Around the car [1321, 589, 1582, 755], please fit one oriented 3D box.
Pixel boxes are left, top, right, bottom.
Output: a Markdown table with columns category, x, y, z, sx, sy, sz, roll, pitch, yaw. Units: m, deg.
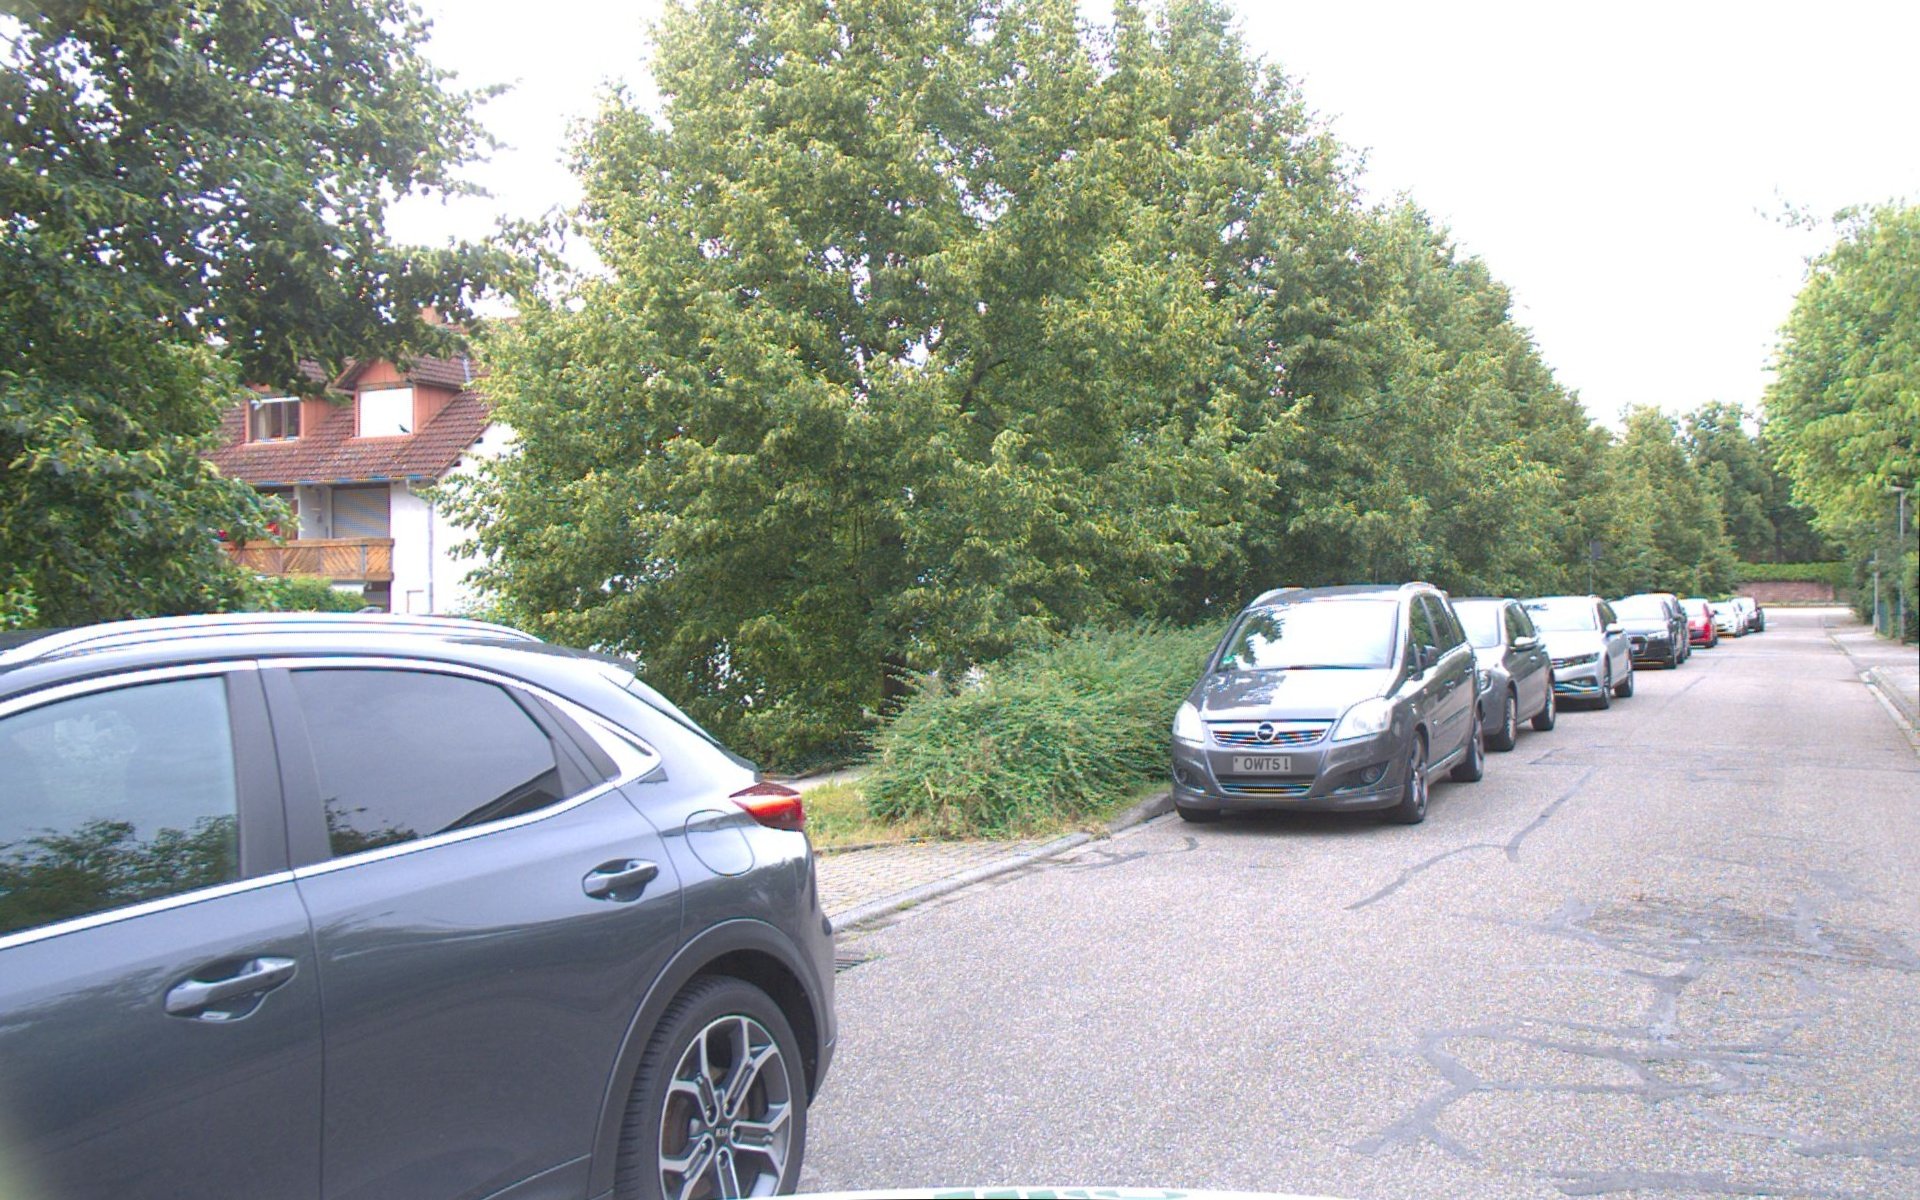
| category | x | y | z | sx | sy | sz | roll | pitch | yaw |
| --- | --- | --- | --- | --- | --- | --- | --- | --- | --- |
| car | 5.318 | 0.686 | 17.509 | 1.724 | 1.504 | 4.299 | -3 | -1 | 29 |

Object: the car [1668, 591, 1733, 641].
| category | x | y | z | sx | sy | sz | roll | pitch | yaw |
| --- | --- | --- | --- | --- | --- | --- | --- | --- | --- |
| car | 24.958 | 0.530 | 55.679 | 1.718 | 1.546 | 3.995 | -3 | -1 | 28 |

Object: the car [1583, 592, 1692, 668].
| category | x | y | z | sx | sy | sz | roll | pitch | yaw |
| --- | --- | --- | --- | --- | --- | --- | --- | --- | --- |
| car | 14.302 | 0.598 | 34.799 | 1.718 | 1.450 | 3.995 | -3 | -1 | 28 |

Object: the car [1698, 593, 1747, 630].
| category | x | y | z | sx | sy | sz | roll | pitch | yaw |
| --- | --- | --- | --- | --- | --- | --- | --- | --- | --- |
| car | 32.914 | 0.490 | 71.340 | 1.718 | 1.546 | 3.995 | -1 | 0 | 28 |

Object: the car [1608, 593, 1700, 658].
| category | x | y | z | sx | sy | sz | roll | pitch | yaw |
| --- | --- | --- | --- | --- | --- | --- | --- | --- | --- |
| car | 17.283 | 0.607 | 41.109 | 1.718 | 1.450 | 3.995 | -3 | -1 | 28 |

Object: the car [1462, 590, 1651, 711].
| category | x | y | z | sx | sy | sz | roll | pitch | yaw |
| --- | --- | --- | --- | --- | --- | --- | --- | --- | --- |
| car | 8.348 | 0.645 | 22.920 | 1.742 | 1.453 | 4.471 | -3 | -1 | 29 |

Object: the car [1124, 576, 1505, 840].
| category | x | y | z | sx | sy | sz | roll | pitch | yaw |
| --- | --- | --- | --- | --- | --- | --- | --- | --- | --- |
| car | 2.889 | 0.683 | 12.583 | 1.723 | 1.621 | 4.548 | -3 | -1 | 26 |

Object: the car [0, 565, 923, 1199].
| category | x | y | z | sx | sy | sz | roll | pitch | yaw |
| --- | --- | --- | --- | --- | --- | --- | --- | --- | --- |
| car | -1.857 | 0.767 | 2.797 | 1.708 | 1.558 | 4.189 | -3 | -1 | 28 |

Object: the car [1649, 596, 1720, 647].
| category | x | y | z | sx | sy | sz | roll | pitch | yaw |
| --- | --- | --- | --- | --- | --- | --- | --- | --- | --- |
| car | 22.503 | 0.646 | 51.311 | 1.718 | 1.450 | 3.995 | -3 | -1 | 28 |
